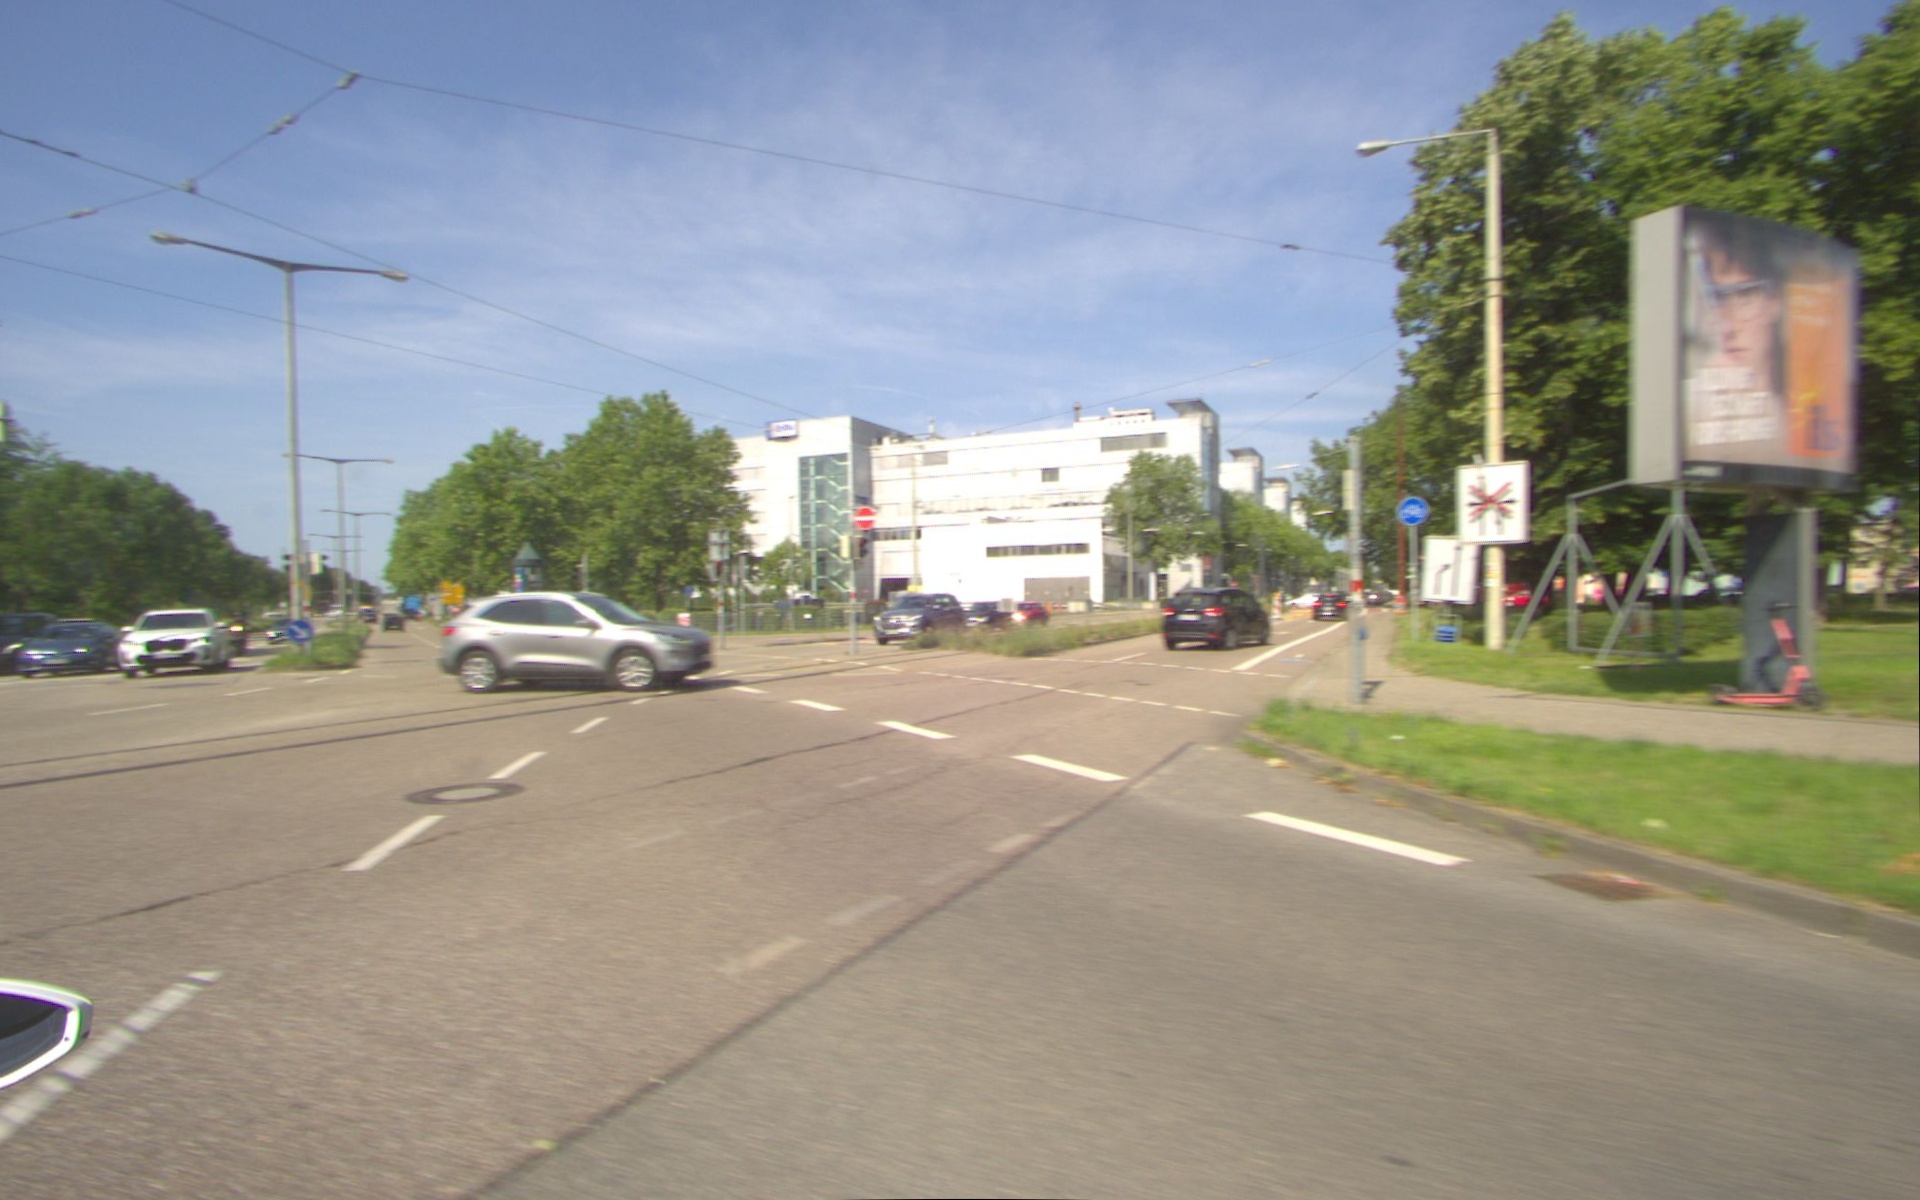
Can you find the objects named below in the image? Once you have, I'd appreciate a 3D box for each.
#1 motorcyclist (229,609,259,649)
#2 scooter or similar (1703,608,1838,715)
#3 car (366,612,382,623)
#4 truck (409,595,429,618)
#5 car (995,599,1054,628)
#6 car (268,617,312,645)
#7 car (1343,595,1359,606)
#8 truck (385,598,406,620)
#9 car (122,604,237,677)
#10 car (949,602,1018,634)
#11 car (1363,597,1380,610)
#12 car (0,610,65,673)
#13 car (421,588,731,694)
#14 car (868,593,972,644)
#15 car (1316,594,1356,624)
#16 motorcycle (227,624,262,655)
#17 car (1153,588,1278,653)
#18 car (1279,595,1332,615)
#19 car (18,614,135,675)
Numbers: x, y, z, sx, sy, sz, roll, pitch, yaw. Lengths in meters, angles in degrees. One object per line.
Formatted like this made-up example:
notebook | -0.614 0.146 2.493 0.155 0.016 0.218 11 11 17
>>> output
motorcyclist | -26.755 1.082 37.434 0.726 1.466 0.869 -3 1 -28
scooter or similar | 9.162 0.670 11.346 0.420 1.141 1.117 -1 1 -31
car | -75.947 2.199 129.846 1.729 1.362 4.355 -1 0 -30
truck | -109.164 1.310 202.325 3.153 4.413 13.089 -1 0 -27
car | 3.522 0.681 53.953 1.752 1.463 4.613 -1 0 23
car | -37.455 1.696 56.054 1.695 1.397 4.448 -3 1 -30
car | 53.288 0.061 136.289 1.821 1.530 4.330 -1 0 24
truck | -98.868 1.569 175.537 2.807 3.625 8.681 -1 0 -27
car | -20.183 0.981 26.075 1.889 1.711 4.599 -1 0 -32
car | 1.220 0.835 48.675 1.752 1.463 4.613 -1 0 23
car | 48.893 0.385 118.918 1.821 1.530 4.330 -1 0 24
car | -29.371 1.247 30.968 1.830 1.839 3.976 -1 0 -32
car | -6.510 0.677 17.275 4.566 1.672 1.996 -1 0 7
car | -1.325 0.616 35.635 1.884 1.711 4.613 -1 0 23
car | 20.585 0.468 54.753 1.820 1.530 4.381 -1 0 23
motorcycle | -26.734 1.448 37.418 0.726 1.097 2.035 -3 0 -27
car | 6.980 0.499 27.026 1.791 1.627 4.348 -1 0 36
car | 31.602 0.446 91.509 4.547 1.711 1.911 -1 0 21
car | -25.015 1.197 28.495 1.830 1.582 3.976 -1 0 -32
